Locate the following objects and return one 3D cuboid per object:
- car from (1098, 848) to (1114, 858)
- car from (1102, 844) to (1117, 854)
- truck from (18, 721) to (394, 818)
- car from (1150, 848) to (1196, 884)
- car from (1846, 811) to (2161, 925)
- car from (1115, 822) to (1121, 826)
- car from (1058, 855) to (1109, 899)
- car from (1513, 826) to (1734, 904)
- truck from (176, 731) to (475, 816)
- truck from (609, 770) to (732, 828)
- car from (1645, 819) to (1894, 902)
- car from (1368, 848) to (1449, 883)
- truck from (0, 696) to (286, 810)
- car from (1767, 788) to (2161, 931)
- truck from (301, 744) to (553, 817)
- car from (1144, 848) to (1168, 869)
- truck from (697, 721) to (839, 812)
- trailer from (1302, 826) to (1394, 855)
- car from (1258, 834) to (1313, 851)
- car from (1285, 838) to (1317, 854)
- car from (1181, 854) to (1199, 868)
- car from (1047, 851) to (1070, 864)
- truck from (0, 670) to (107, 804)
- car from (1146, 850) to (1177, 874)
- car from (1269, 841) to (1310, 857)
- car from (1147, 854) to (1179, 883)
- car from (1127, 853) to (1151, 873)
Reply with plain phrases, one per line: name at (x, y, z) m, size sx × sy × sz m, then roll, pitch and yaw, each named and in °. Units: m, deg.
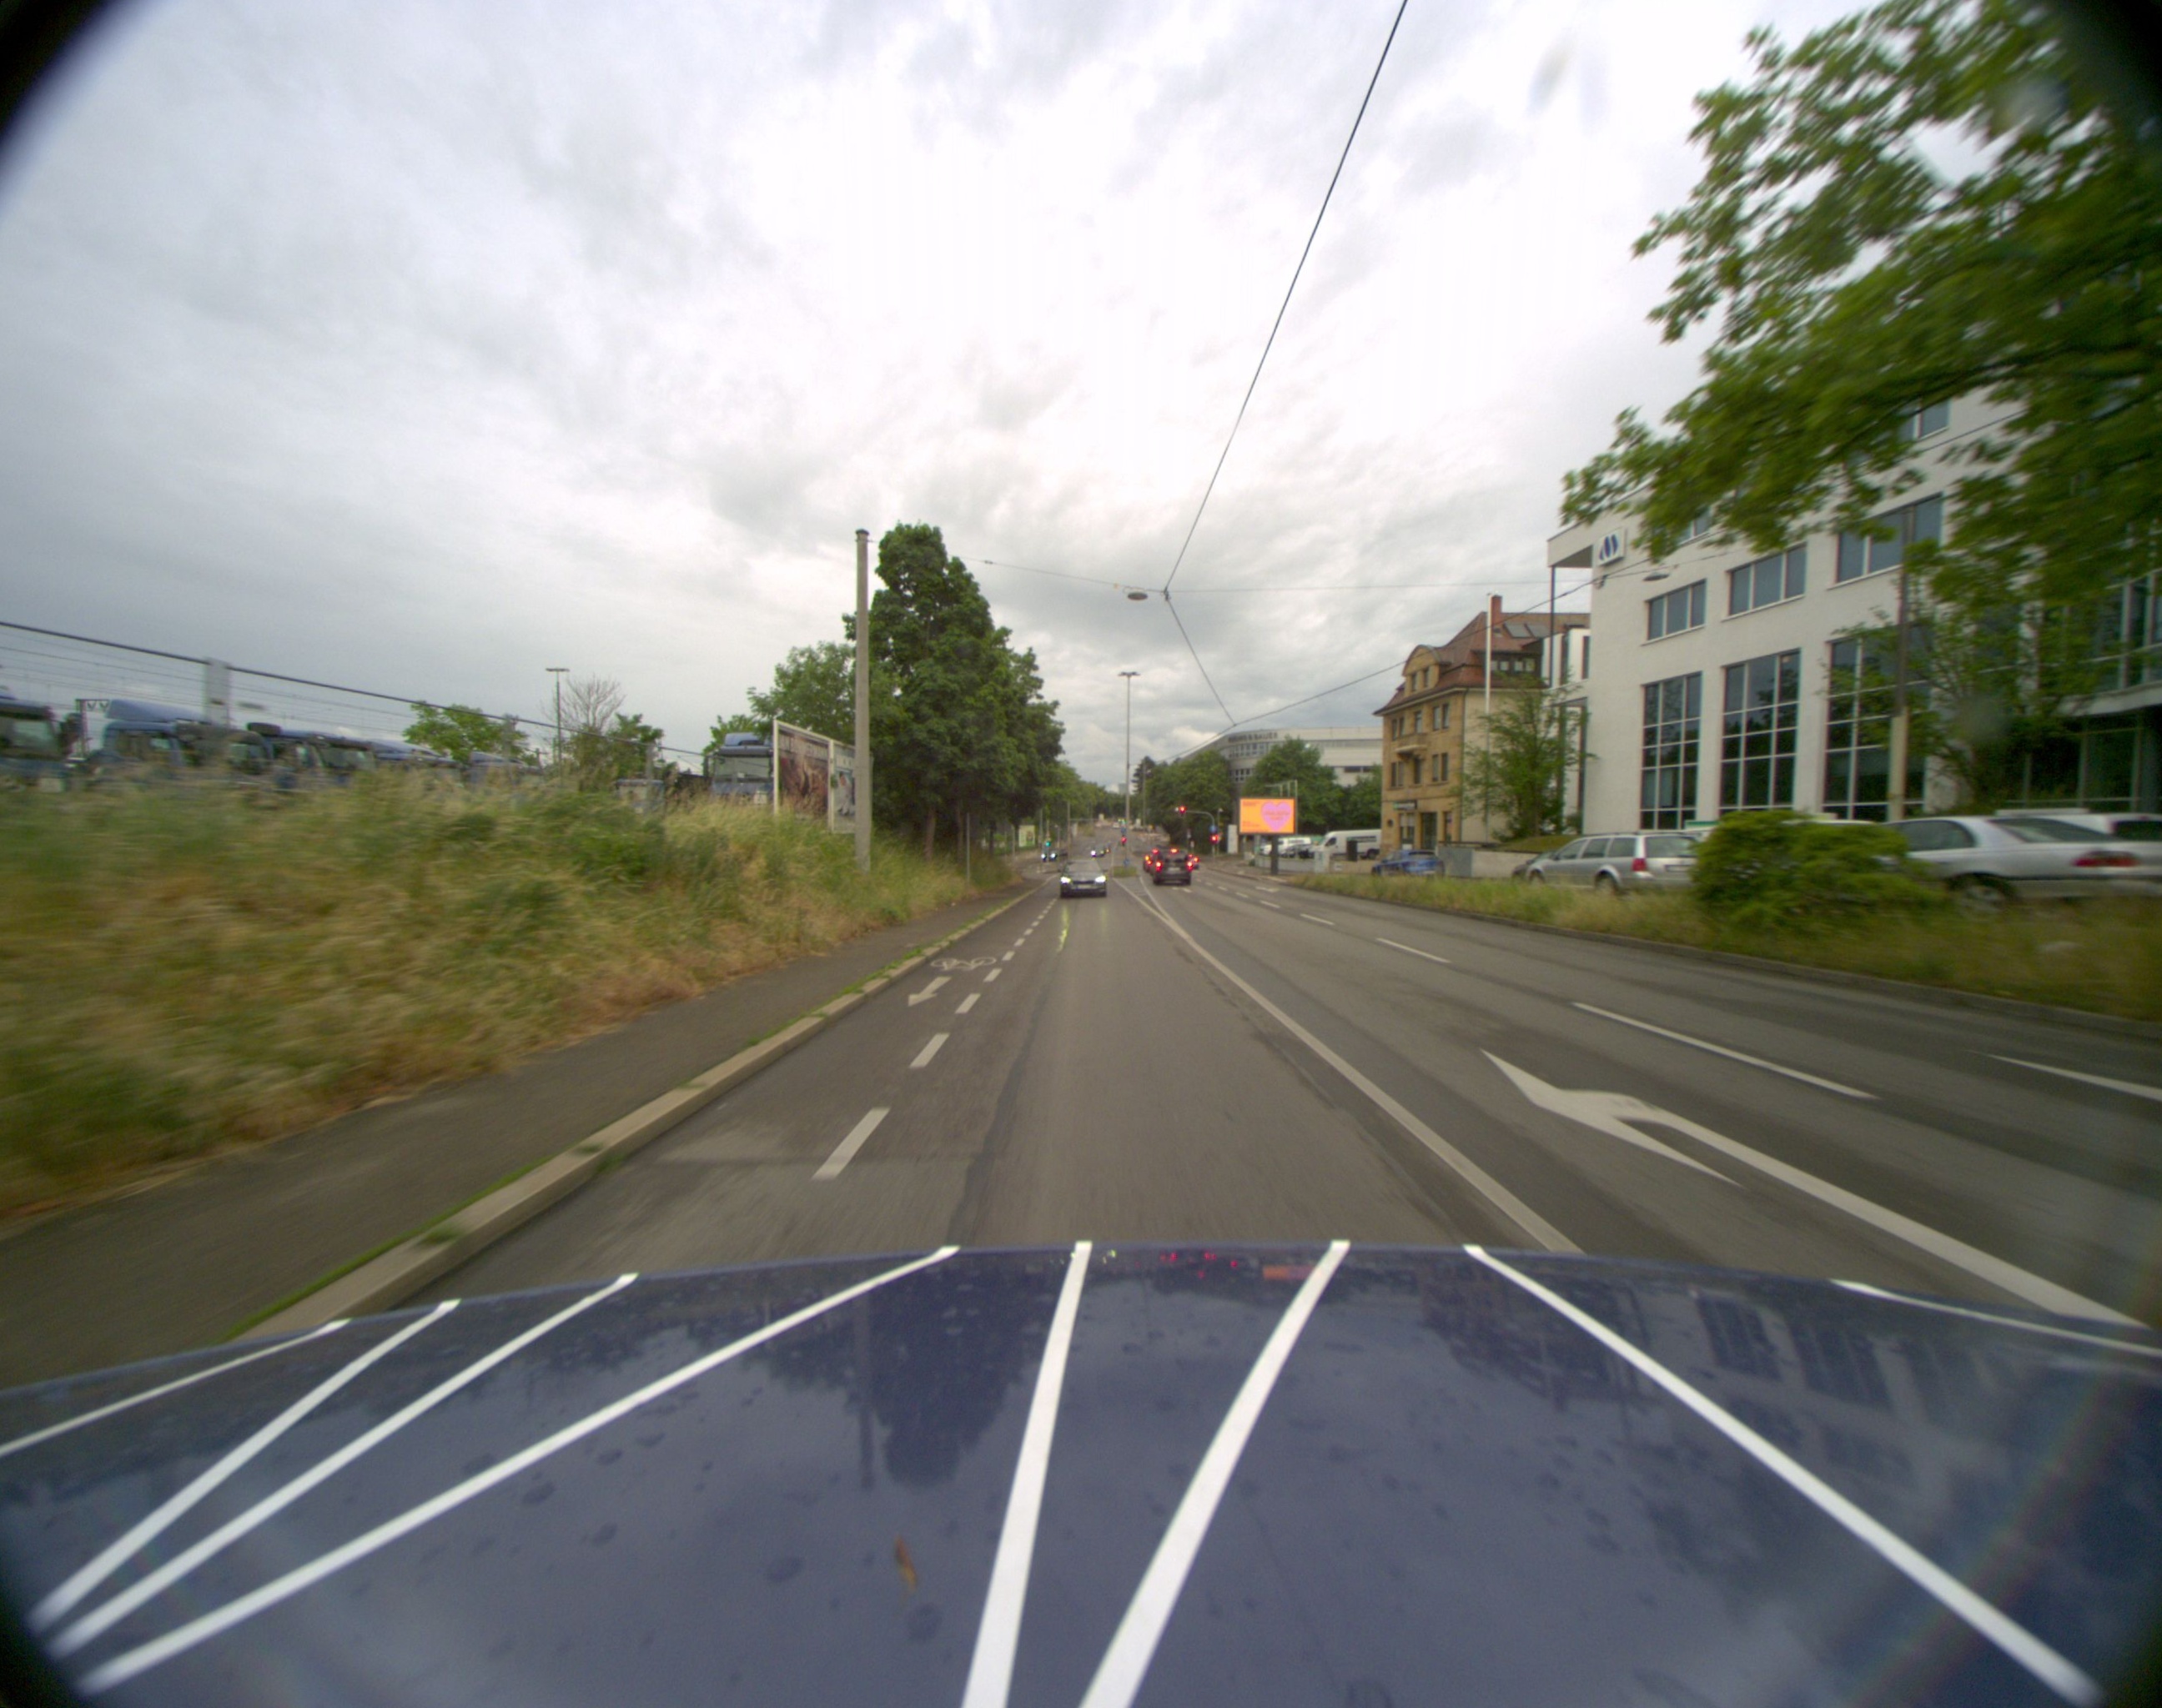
car at (3.657, -0.130, 111.438) m, size 1.595 × 1.253 × 3.758 m, roll -3°, pitch 2°, yaw 14°
car at (4.706, -0.771, 124.502) m, size 1.751 × 1.362 × 3.758 m, roll -3°, pitch 2°, yaw 14°
truck at (-26.092, -2.464, 22.968) m, size 8.026 × 2.724 × 2.585 m, roll 0°, pitch 3°, yaw -2°
car at (4.891, 0.614, 41.206) m, size 2.019 × 1.856 × 5.041 m, roll 0°, pitch 0°, yaw 2°
car at (16.006, 0.234, 13.205) m, size 1.596 × 1.685 × 3.781 m, roll 0°, pitch -1°, yaw -1°
car at (11.117, -9.111, 228.975) m, size 1.532 × 1.307 × 3.230 m, roll 0°, pitch 2°, yaw 5°
car at (0.112, 0.853, 30.132) m, size 1.811 × 1.509 × 4.052 m, roll -3°, pitch 0°, yaw 0°
car at (11.422, 0.232, 16.459) m, size 1.651 × 1.469 × 4.444 m, roll 0°, pitch -1°, yaw 0°
truck at (-26.480, -2.767, 26.923) m, size 7.730 × 2.841 × 2.585 m, roll 0°, pitch 3°, yaw -2°
truck at (-25.604, -3.326, 48.126) m, size 2.256 × 3.178 × 9.638 m, roll -2°, pitch 2°, yaw 1°
car at (16.086, 0.161, 18.167) m, size 1.775 × 1.735 × 4.583 m, roll 0°, pitch -1°, yaw -1°
car at (15.239, 0.514, 35.621) m, size 1.692 × 1.525 × 4.672 m, roll 0°, pitch -1°, yaw -1°
truck at (-25.664, -2.455, 19.199) m, size 8.112 × 2.640 × 2.585 m, roll 0°, pitch 3°, yaw -2°
car at (11.781, 0.087, 10.151) m, size 1.596 × 1.531 × 3.992 m, roll 0°, pitch -1°, yaw -1°
truck at (-26.400, -2.916, 30.947) m, size 7.757 × 2.800 × 2.585 m, roll 0°, pitch 3°, yaw -2°
car at (6.973, 0.367, 70.792) m, size 1.938 × 1.808 × 5.170 m, roll 0°, pitch 1°, yaw 2°
truck at (-11.073, -2.985, 27.572) m, size 2.290 × 2.636 × 6.050 m, roll -6°, pitch 2°, yaw 1°
trailer at (23.006, -1.165, 65.683) m, size 7.115 × 2.415 × 2.394 m, roll 0°, pitch 3°, yaw 0°
car at (22.266, -1.231, 82.741) m, size 5.371 × 1.792 × 2.218 m, roll 0°, pitch 3°, yaw -6°
car at (20.948, -0.784, 72.338) m, size 2.684 × 1.416 × 1.227 m, roll -3°, pitch 2°, yaw 2°
car at (10.341, 0.623, 71.989) m, size 1.380 × 1.216 × 2.452 m, roll 0°, pitch 2°, yaw 0°
car at (-3.064, 0.461, 103.872) m, size 1.950 × 1.535 × 4.213 m, roll -3°, pitch 2°, yaw 14°
truck at (-25.564, -2.335, 15.233) m, size 8.319 × 2.602 × 2.585 m, roll 0°, pitch 3°, yaw -2°
car at (5.903, 0.525, 56.029) m, size 1.959 × 1.687 × 4.626 m, roll 0°, pitch 1°, yaw 2°
car at (20.705, -0.536, 75.632) m, size 3.620 × 1.361 × 1.741 m, roll -3°, pitch 2°, yaw 2°
car at (5.330, 0.899, 49.818) m, size 1.692 × 1.595 × 4.727 m, roll 0°, pitch 2°, yaw 1°
car at (4.904, 0.723, 64.344) m, size 1.810 × 1.522 × 4.440 m, roll 0°, pitch 2°, yaw 1°
